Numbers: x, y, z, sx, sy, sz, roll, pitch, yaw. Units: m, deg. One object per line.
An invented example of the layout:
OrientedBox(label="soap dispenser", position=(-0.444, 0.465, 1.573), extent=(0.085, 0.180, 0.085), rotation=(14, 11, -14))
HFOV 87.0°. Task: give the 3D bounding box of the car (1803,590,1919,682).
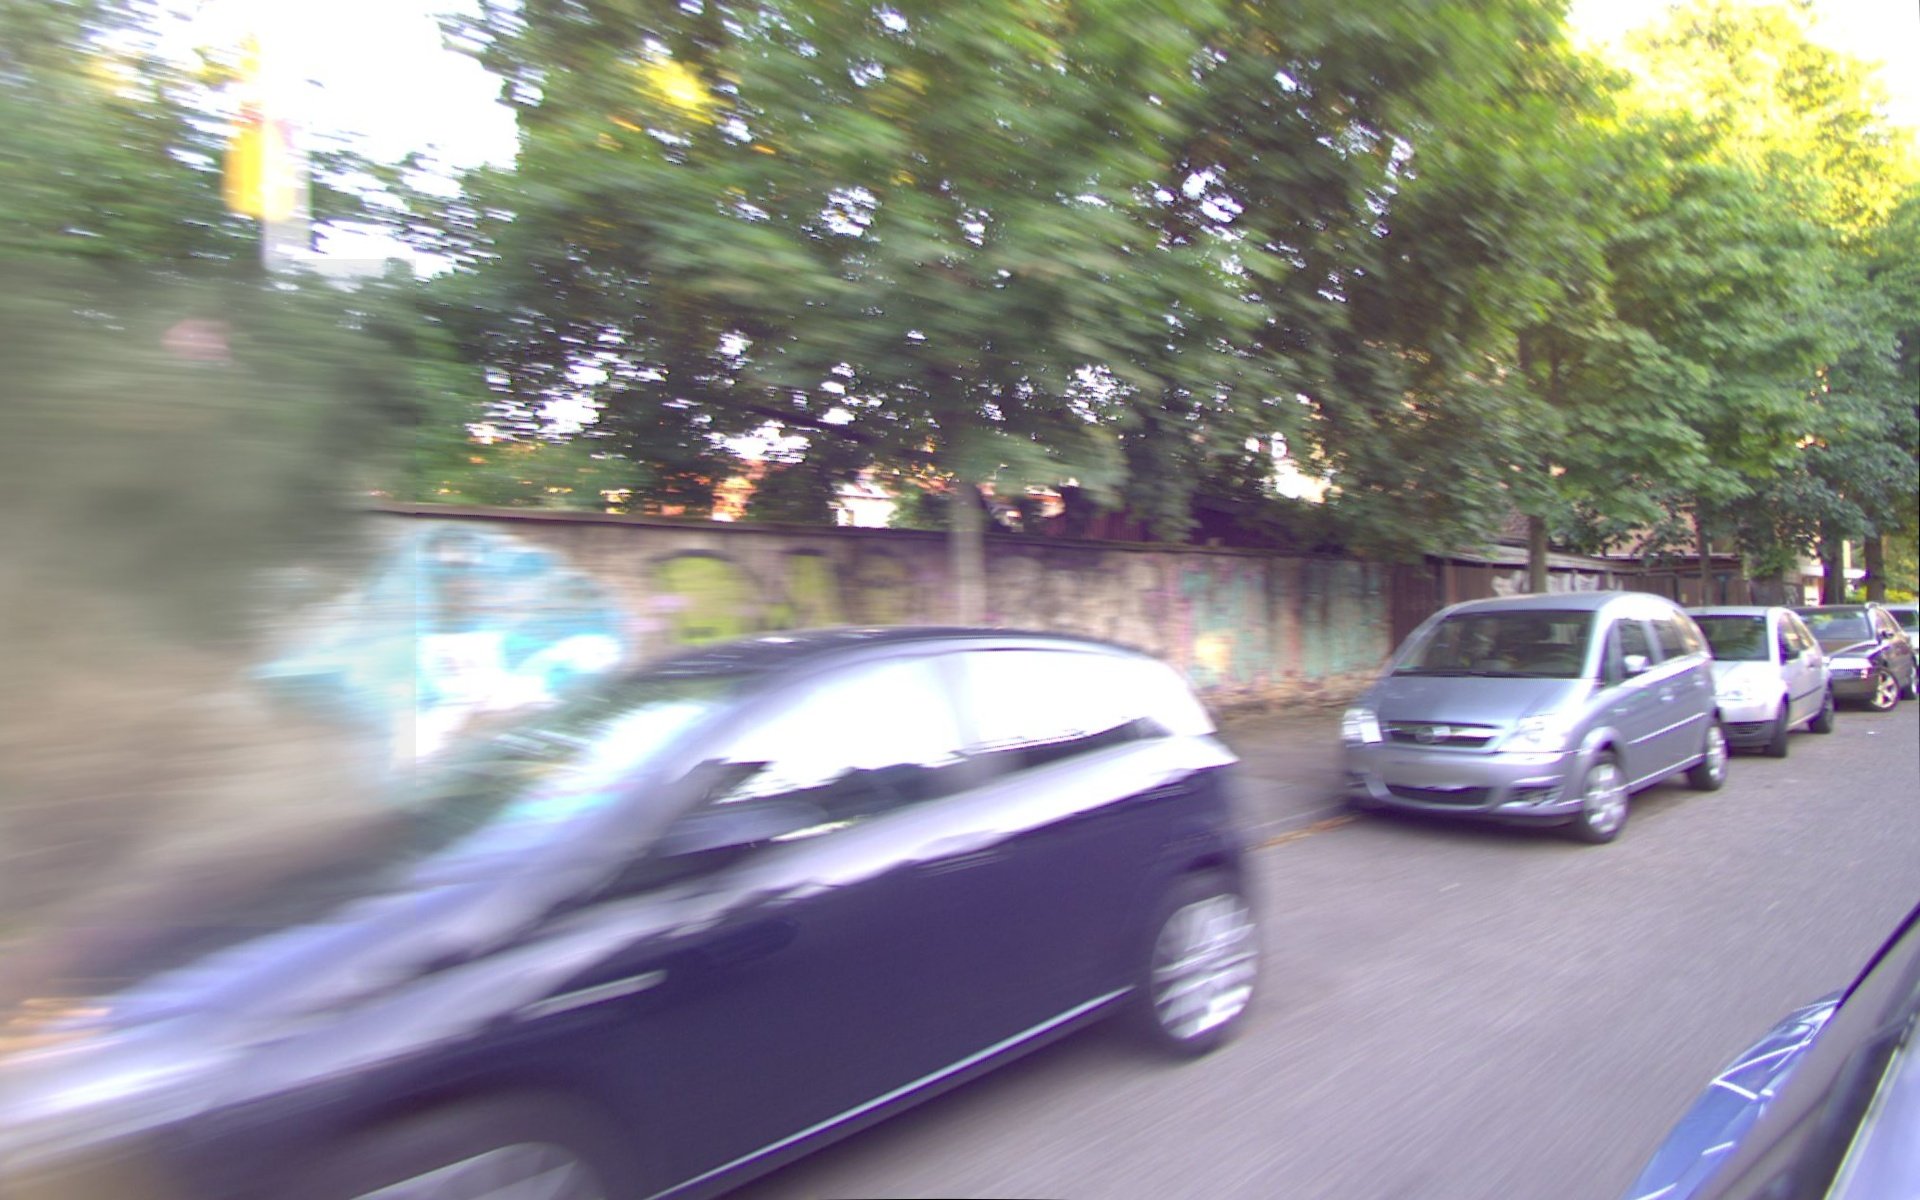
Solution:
OrientedBox(label="car", position=(16.433, 0.602, 17.854), extent=(3.935, 1.461, 1.762), rotation=(1, -2, -41))

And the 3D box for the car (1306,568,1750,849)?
OrientedBox(label="car", position=(4.485, 0.626, 7.771), extent=(3.806, 1.624, 1.762), rotation=(-1, -1, -41))

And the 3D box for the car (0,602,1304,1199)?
OrientedBox(label="car", position=(-0.691, 0.789, 3.042), extent=(3.708, 1.495, 1.599), rotation=(-1, -1, -41))

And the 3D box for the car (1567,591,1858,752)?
OrientedBox(label="car", position=(8.337, 0.684, 11.104), extent=(3.805, 1.460, 1.762), rotation=(1, -2, -41))

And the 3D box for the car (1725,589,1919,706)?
OrientedBox(label="car", position=(12.874, 0.636, 14.846), extent=(4.315, 1.473, 1.762), rotation=(1, -2, -41))

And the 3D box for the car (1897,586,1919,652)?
OrientedBox(label="car", position=(24.220, 0.442, 24.578), extent=(3.955, 1.539, 1.724), rotation=(1, -2, -41))
